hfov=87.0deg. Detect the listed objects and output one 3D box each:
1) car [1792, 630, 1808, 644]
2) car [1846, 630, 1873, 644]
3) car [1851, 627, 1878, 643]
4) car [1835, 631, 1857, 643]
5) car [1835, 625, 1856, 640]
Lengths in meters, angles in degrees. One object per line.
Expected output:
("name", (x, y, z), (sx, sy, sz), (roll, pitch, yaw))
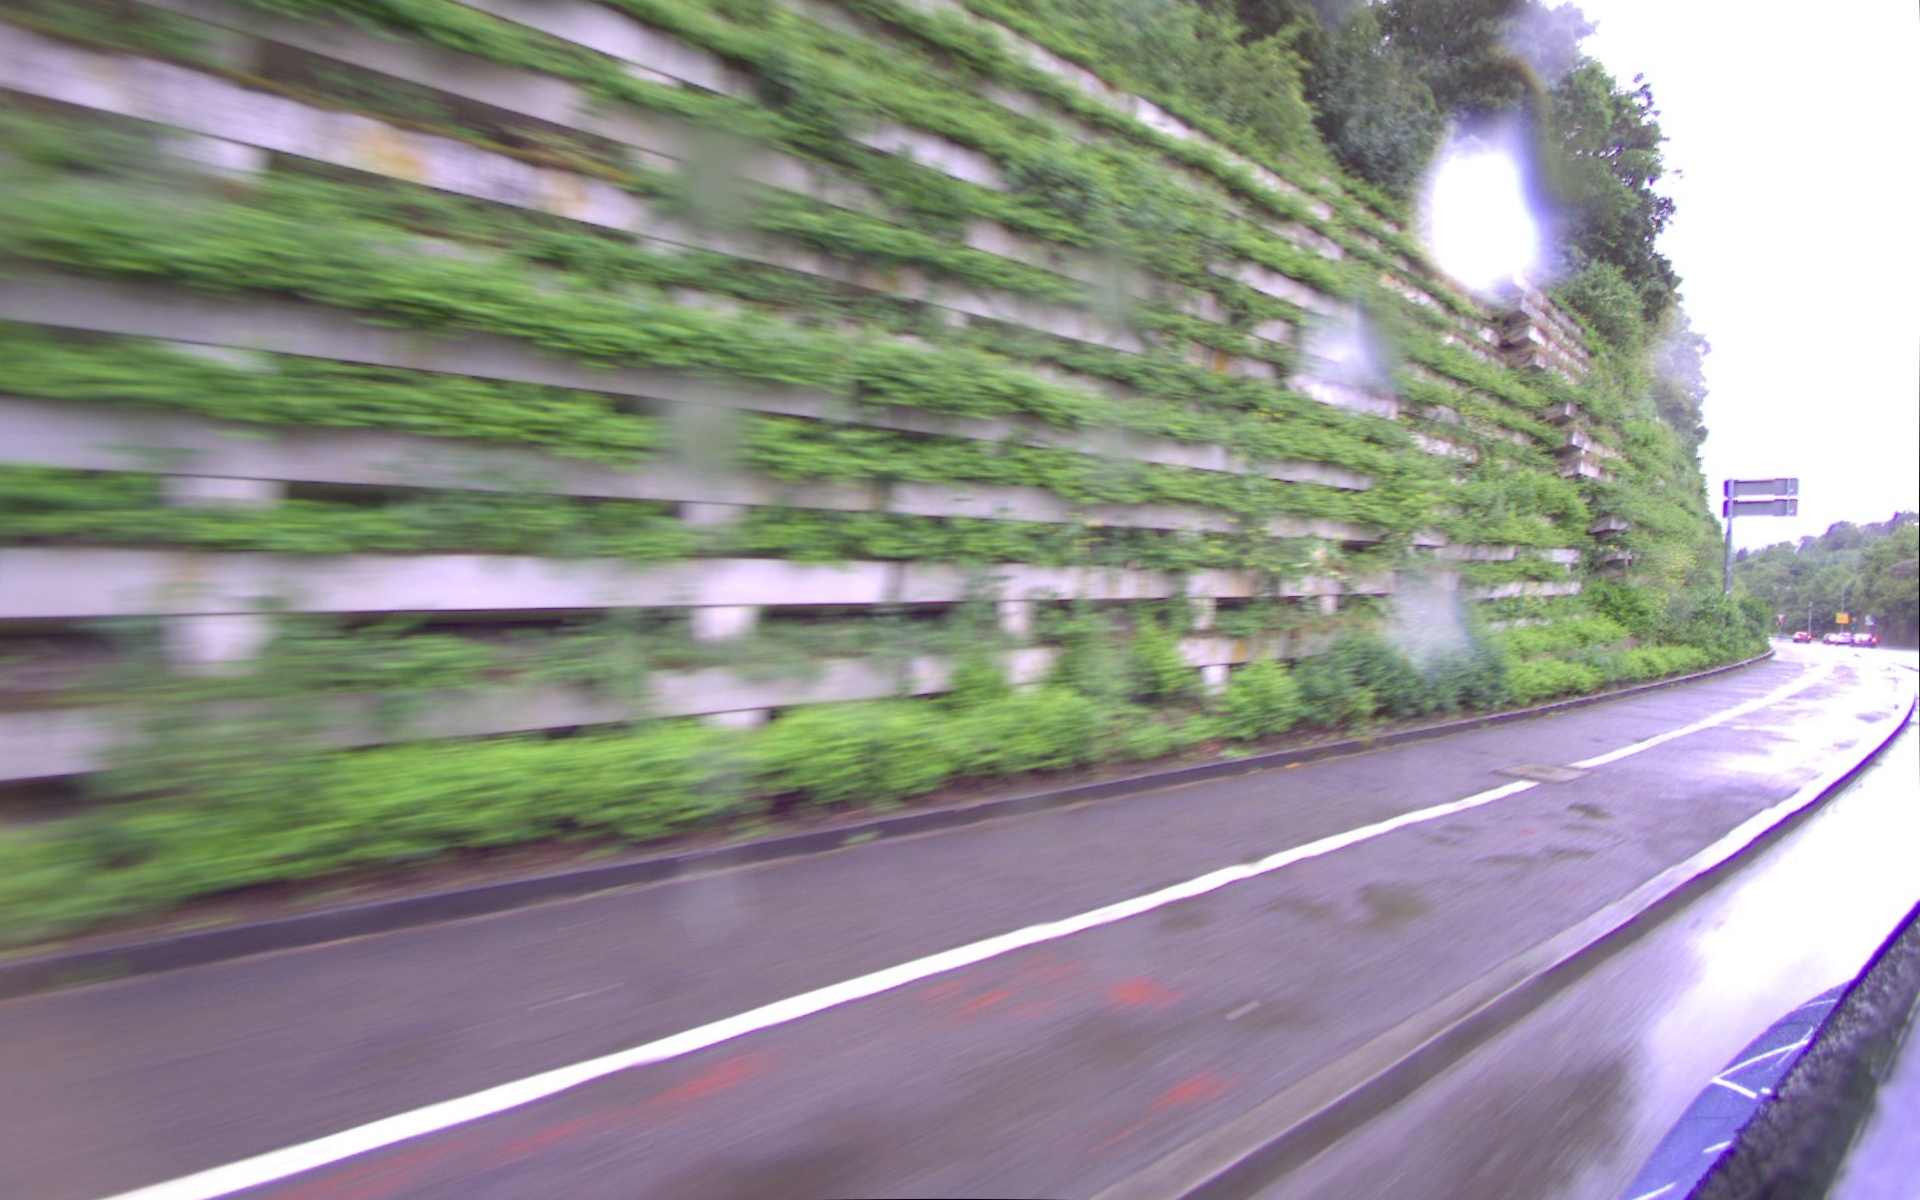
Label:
("car", (123.867, 5.410, 149.200), (1.792, 1.866, 3.941), (1, 0, 40))
("car", (112.014, 4.608, 126.057), (1.987, 1.545, 3.950), (1, 0, 34))
("car", (90.420, 3.449, 101.223), (1.791, 1.427, 3.944), (0, 0, 39))
("car", (122.185, 5.101, 139.571), (1.989, 1.545, 3.946), (1, 0, 37))
("car", (132.861, 4.852, 151.768), (3.933, 2.039, 1.995), (1, 0, -43))
